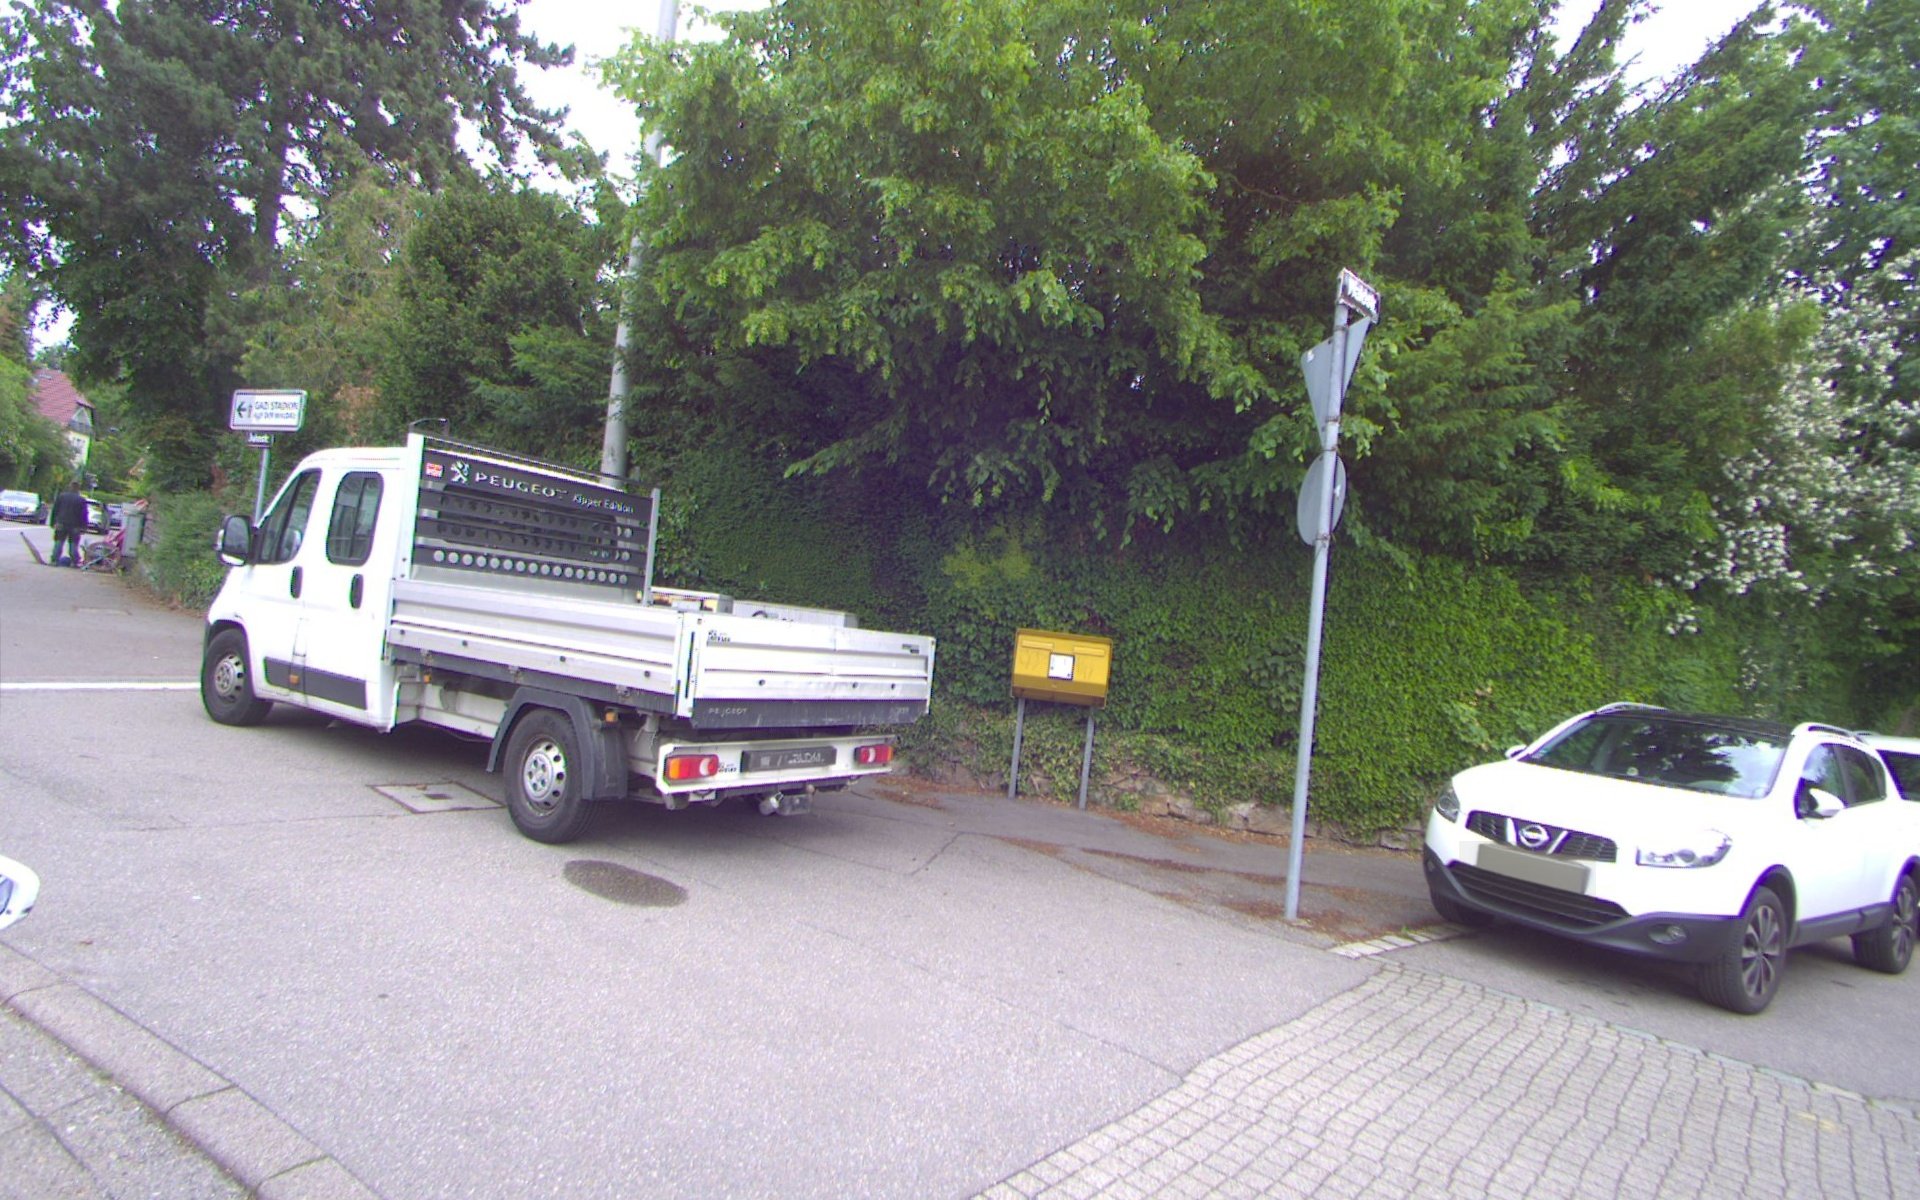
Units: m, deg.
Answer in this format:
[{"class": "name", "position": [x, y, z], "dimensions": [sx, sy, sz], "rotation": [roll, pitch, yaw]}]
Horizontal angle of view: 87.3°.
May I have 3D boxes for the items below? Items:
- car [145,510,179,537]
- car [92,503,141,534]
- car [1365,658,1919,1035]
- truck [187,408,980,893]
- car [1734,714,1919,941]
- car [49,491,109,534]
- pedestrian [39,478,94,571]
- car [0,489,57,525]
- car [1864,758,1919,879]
[{"class": "car", "position": [-69.804, -6.693, 88.095], "dimensions": [1.910, 1.915, 4.859], "rotation": [10, -2, -36]}, {"class": "car", "position": [-50.871, -4.921, 60.752], "dimensions": [1.790, 1.545, 4.697], "rotation": [7, 0, -36]}, {"class": "car", "position": [4.768, 1.472, 6.658], "dimensions": [4.098, 1.641, 1.783], "rotation": [9, -2, -34]}, {"class": "truck", "position": [-2.932, 0.086, 7.163], "dimensions": [5.631, 2.270, 2.211], "rotation": [6, -2, 34]}, {"class": "car", "position": [9.047, 2.118, 9.471], "dimensions": [4.041, 1.641, 1.781], "rotation": [9, -3, -38]}, {"class": "car", "position": [-43.158, -4.278, 49.352], "dimensions": [1.798, 1.775, 4.441], "rotation": [7, 0, -37]}, {"class": "pedestrian", "position": [-19.566, -1.648, 22.037], "dimensions": [0.549, 1.929, 0.597], "rotation": [7, -1, 32]}, {"class": "car", "position": [-45.613, -4.527, 48.847], "dimensions": [1.928, 1.420, 4.697], "rotation": [9, -1, -35]}, {"class": "car", "position": [13.896, 3.036, 13.591], "dimensions": [4.040, 1.440, 1.781], "rotation": [8, -2, -38]}]
